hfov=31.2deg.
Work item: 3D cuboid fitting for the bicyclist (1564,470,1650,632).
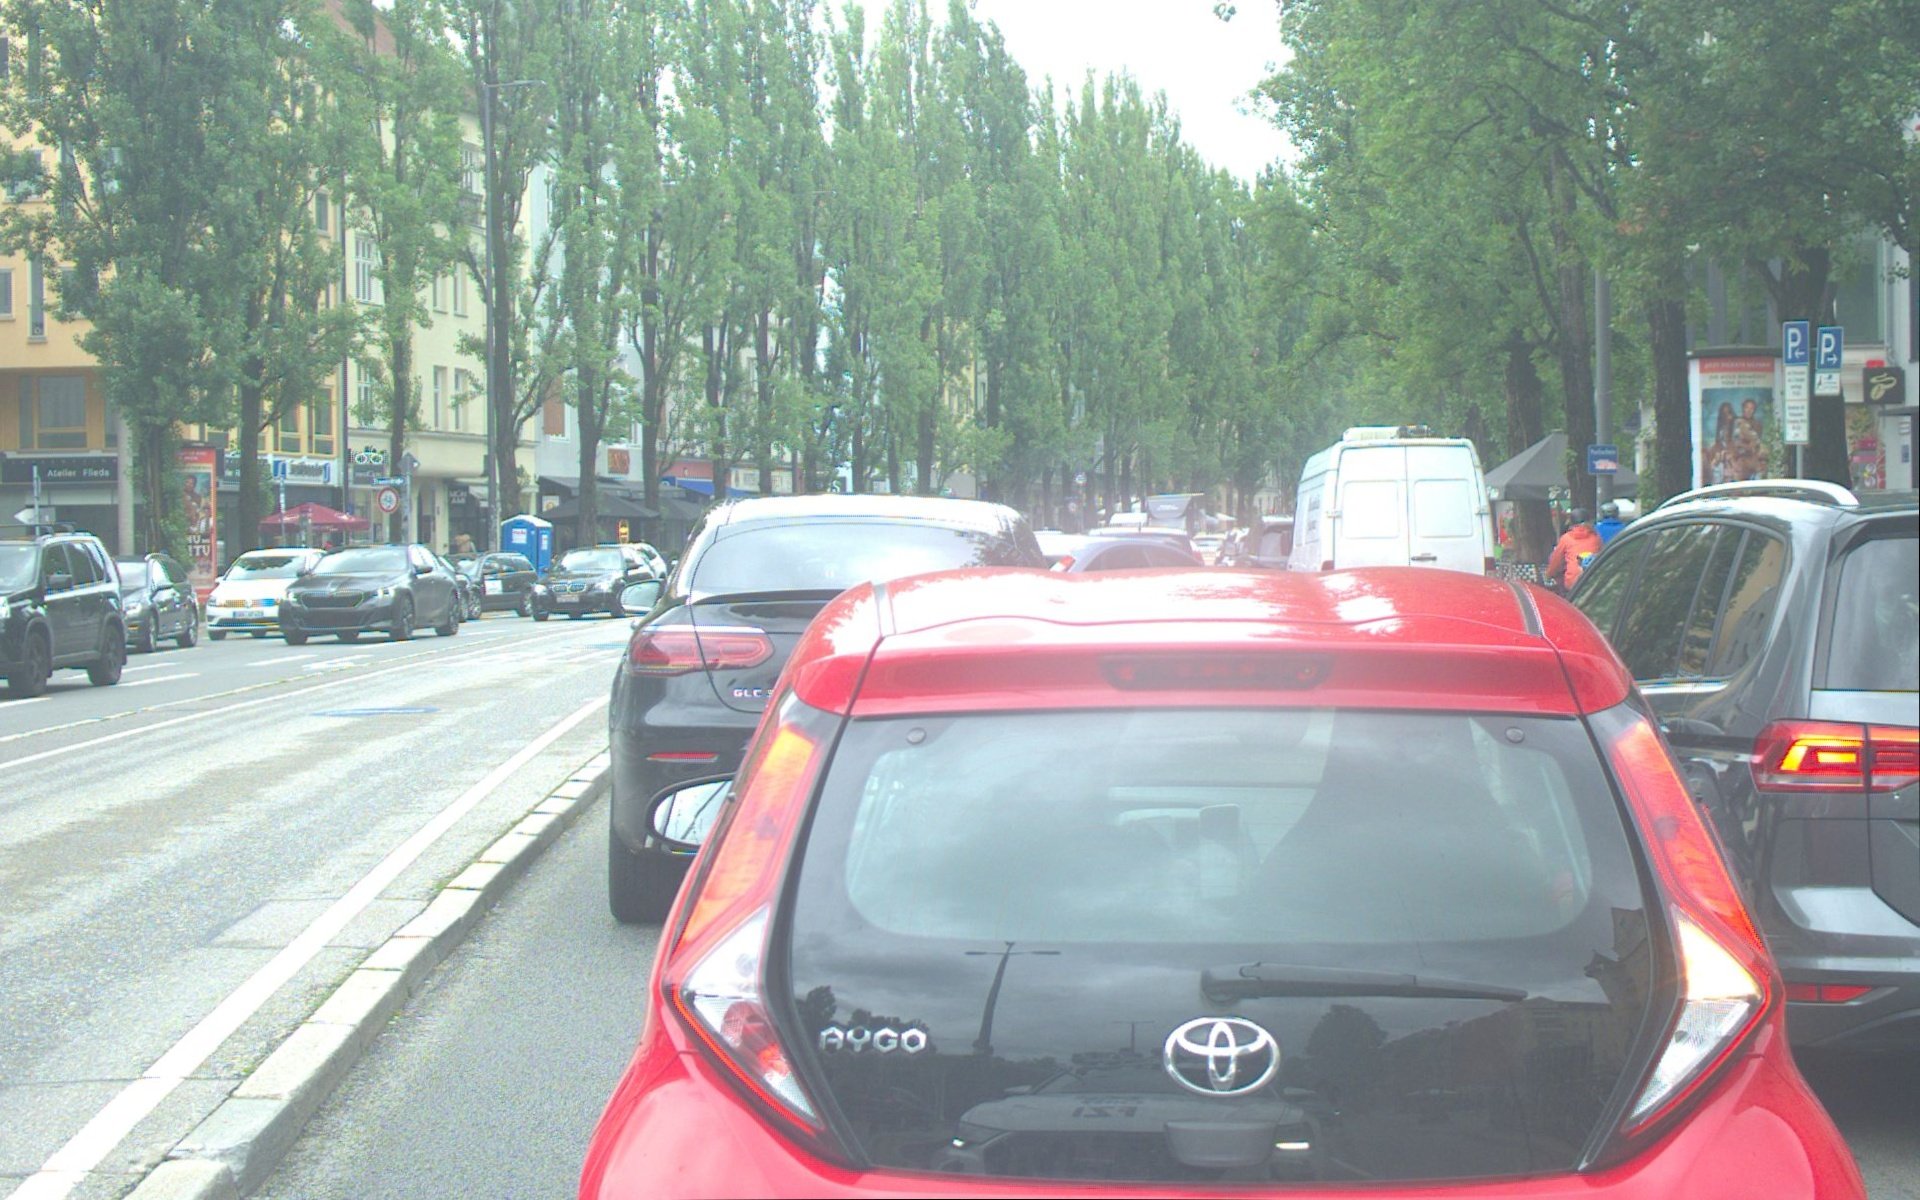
[{"bbox_3d":[7.565,-0.580,40.213,0.762,1.863,1.133,-1,1,-1],"label":"bicyclist"}]

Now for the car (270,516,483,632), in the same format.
[{"bbox_3d":[-8.944,-0.437,53.135,1.994,1.686,4.920,-1,1,6],"label":"car"}]

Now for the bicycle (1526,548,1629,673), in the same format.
[{"bbox_3d":[6.604,0.094,36.871,0.614,1.260,2.520,-1,1,-1],"label":"bicycle"}]

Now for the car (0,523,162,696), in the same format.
[{"bbox_3d":[-10.098,0.051,36.044,1.994,1.686,4.921,-1,1,4],"label":"car"}]

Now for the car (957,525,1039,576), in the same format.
[{"bbox_3d":[1.331,-1.700,117.110,1.994,1.686,4.412,-1,1,11],"label":"car"}]

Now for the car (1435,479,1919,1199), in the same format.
[{"bbox_3d":[2.635,0.503,9.961,1.771,1.641,4.708,0,1,-1],"label":"car"}]

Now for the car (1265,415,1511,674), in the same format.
[{"bbox_3d":[4.747,-0.638,38.812,2.107,2.709,4.804,-1,1,0],"label":"car"}]

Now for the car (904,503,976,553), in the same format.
[{"bbox_3d":[-0.772,-2.832,135.445,1.994,1.927,4.412,0,1,11],"label":"car"}]

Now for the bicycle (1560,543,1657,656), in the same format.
[{"bbox_3d":[7.575,-0.027,40.273,0.614,1.260,2.520,-1,1,-1],"label":"bicycle"}]

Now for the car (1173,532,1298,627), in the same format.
[{"bbox_3d":[4.524,-0.368,56.843,1.702,1.524,3.556,0,1,-1],"label":"car"}]

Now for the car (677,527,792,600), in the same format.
[{"bbox_3d":[-5.405,-0.904,83.094,1.994,1.686,4.920,-1,1,6],"label":"car"}]

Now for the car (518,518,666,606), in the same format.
[{"bbox_3d":[-7.384,-0.802,69.505,1.994,1.686,4.920,-1,1,6],"label":"car"}]

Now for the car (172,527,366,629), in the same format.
[{"bbox_3d":[-12.169,-0.428,60.871,1.994,1.686,4.920,-1,1,6],"label":"car"}]

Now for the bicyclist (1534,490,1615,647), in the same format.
[{"bbox_3d":[6.576,-0.347,36.838,0.614,1.652,1.251,-1,1,-1],"label":"bicyclist"}]

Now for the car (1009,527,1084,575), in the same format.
[{"bbox_3d":[3.169,-1.806,125.301,1.994,1.686,4.412,-1,1,11],"label":"car"}]

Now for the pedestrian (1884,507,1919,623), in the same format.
[{"bbox_3d":[13.250,-0.488,47.483,0.764,1.588,0.676,-1,1,-1],"label":"pedestrian"}]

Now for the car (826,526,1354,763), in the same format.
[{"bbox_3d":[0.984,0.259,23.686,1.923,1.481,3.910,0,1,32],"label":"car"}]

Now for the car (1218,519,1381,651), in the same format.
[{"bbox_3d":[4.415,-0.224,45.107,1.702,1.657,3.556,0,1,-1],"label":"car"}]

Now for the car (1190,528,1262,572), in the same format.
[{"bbox_3d":[9.077,-1.712,116.978,1.774,1.434,3.936,0,1,15],"label":"car"}]

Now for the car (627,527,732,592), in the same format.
[{"bbox_3d":[-7.625,-1.130,93.756,1.994,1.686,4.920,-1,1,6],"label":"car"}]

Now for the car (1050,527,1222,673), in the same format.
[{"bbox_3d":[1.957,-0.033,39.098,1.702,1.584,3.556,0,1,-1],"label":"car"}]

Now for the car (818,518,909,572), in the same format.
[{"bbox_3d":[-3.104,-1.802,111.554,1.994,1.686,4.412,-1,1,11],"label":"car"}]

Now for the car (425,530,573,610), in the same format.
[{"bbox_3d":[-10.188,-0.695,76.359,1.994,1.686,4.920,-1,1,8],"label":"car"}]

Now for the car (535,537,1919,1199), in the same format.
[{"bbox_3d":[0.320,0.648,5.349,1.605,1.456,3.130,1,1,-1],"label":"car"}]

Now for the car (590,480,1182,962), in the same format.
[{"bbox_3d":[-0.319,0.375,13.809,1.993,1.612,4.001,1,1,-2],"label":"car"}]
